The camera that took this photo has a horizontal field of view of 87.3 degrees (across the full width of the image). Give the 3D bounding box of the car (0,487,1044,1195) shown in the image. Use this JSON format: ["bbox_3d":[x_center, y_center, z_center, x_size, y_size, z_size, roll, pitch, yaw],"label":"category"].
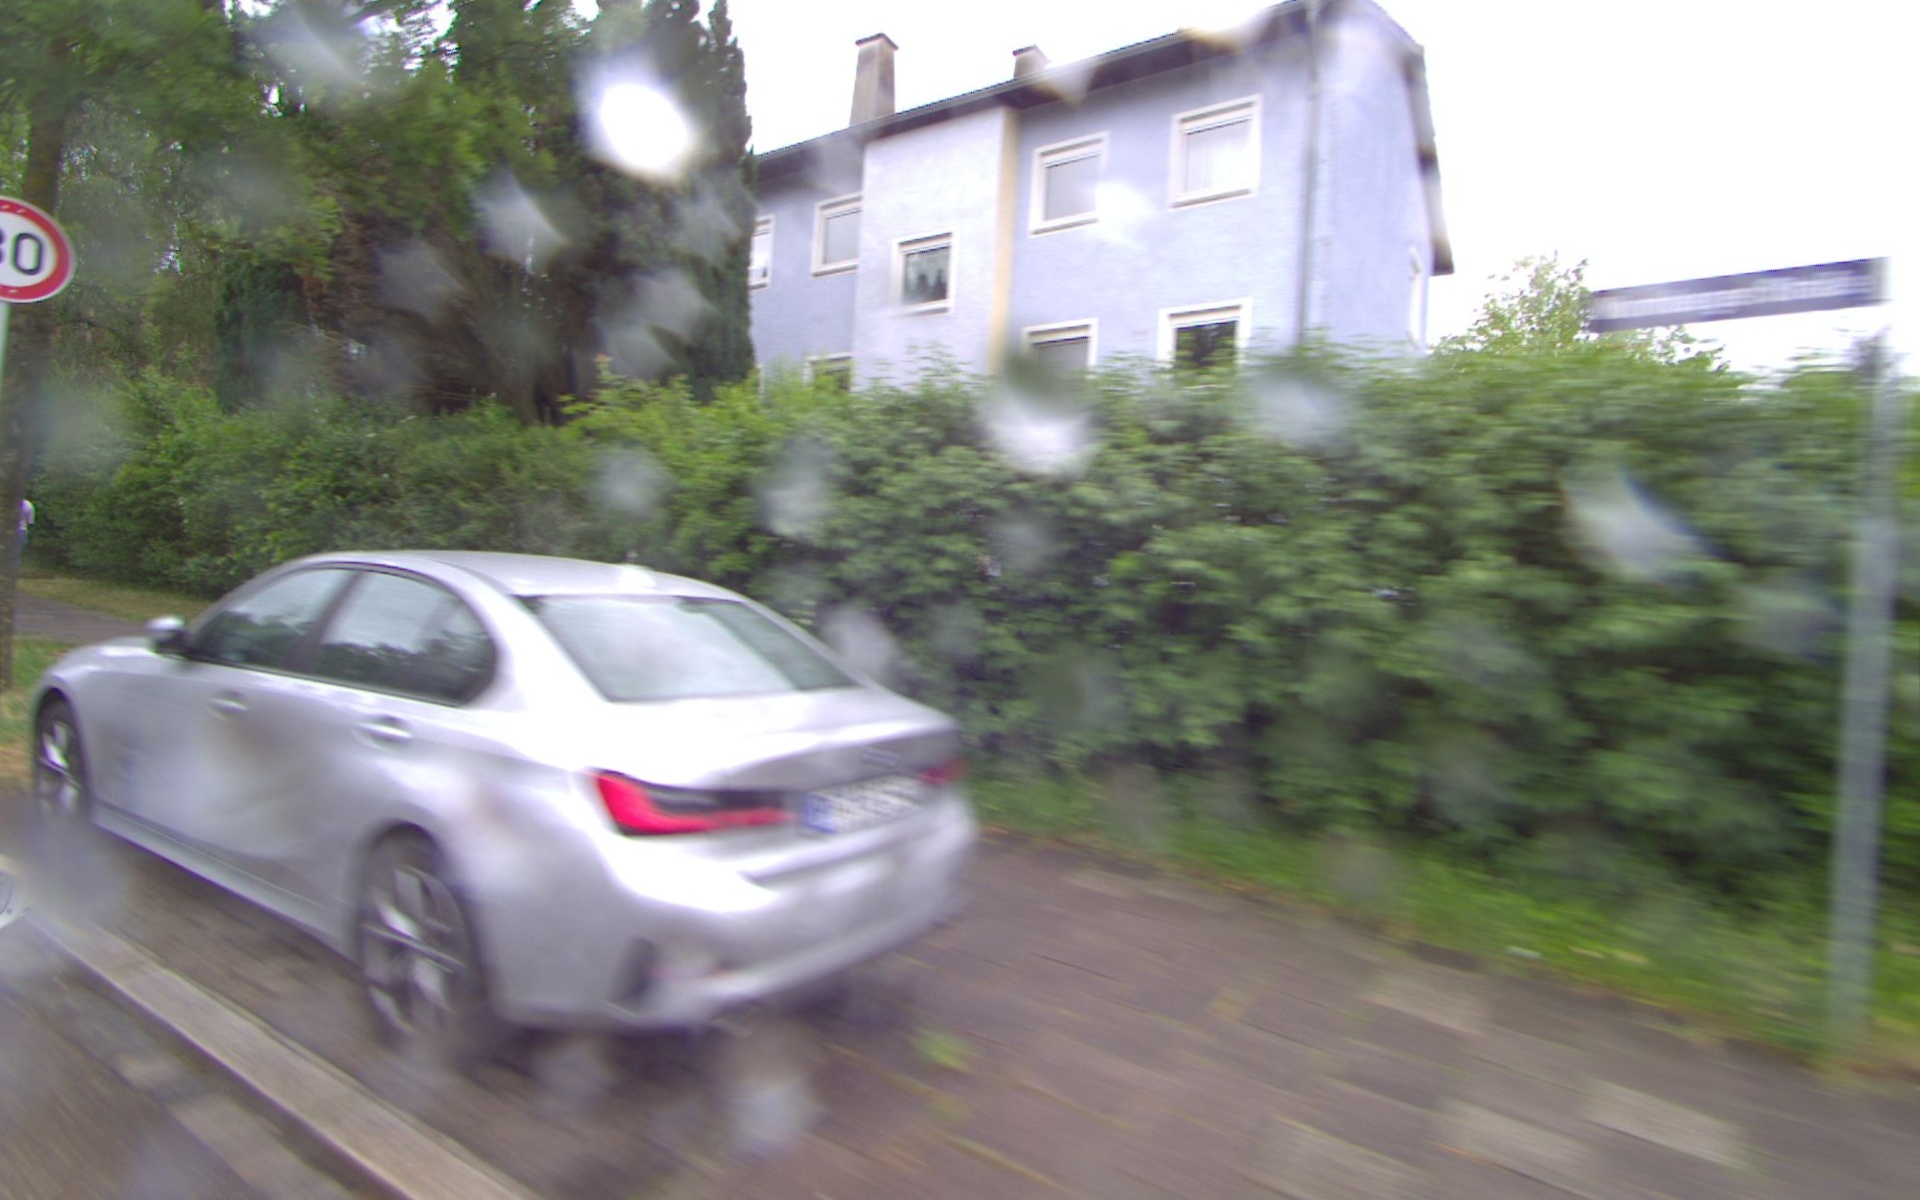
[{"bbox_3d":[-2.114,0.444,4.213,4.516,1.542,1.799,5,1,32],"label":"car"}]

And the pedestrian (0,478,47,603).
[{"bbox_3d":[-13.566,-0.864,14.180,0.879,1.702,0.717,6,2,29],"label":"pedestrian"}]
